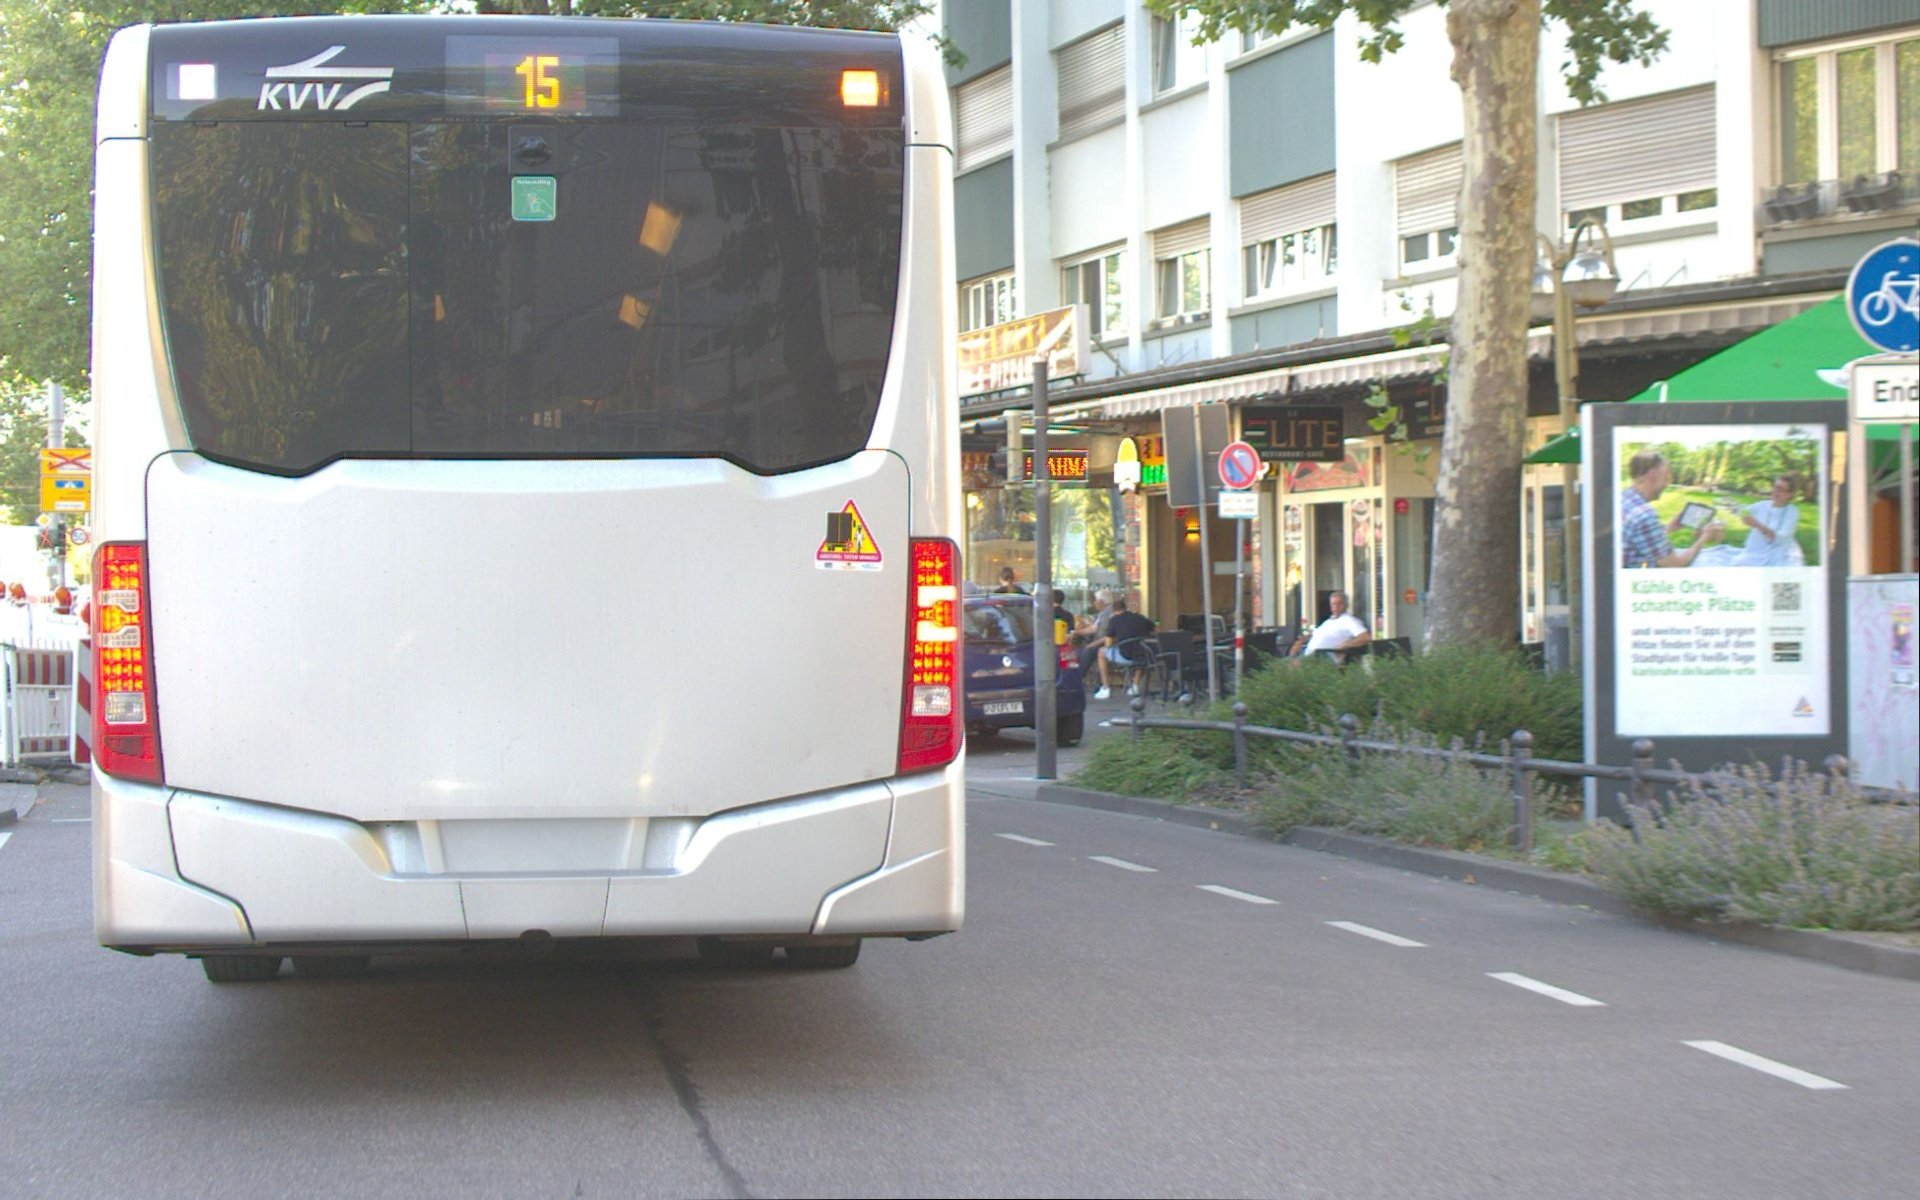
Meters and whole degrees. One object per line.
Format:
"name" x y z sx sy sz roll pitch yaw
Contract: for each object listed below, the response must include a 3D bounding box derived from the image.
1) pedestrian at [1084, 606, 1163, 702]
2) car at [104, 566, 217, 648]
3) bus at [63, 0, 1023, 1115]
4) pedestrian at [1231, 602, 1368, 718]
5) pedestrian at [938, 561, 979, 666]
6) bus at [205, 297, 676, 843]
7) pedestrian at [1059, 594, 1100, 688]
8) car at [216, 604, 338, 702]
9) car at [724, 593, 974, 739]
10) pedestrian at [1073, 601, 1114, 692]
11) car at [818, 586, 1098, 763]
"pedestrian" 1.928 0.632 40.634 0.705 1.105 0.766 0 0 -17
"car" -14.851 0.121 63.739 1.755 1.459 4.001 0 0 -17
"bus" -1.987 -0.144 14.644 2.657 3.088 10.218 0 0 -10
"pedestrian" 3.599 0.626 36.459 1.177 1.193 0.926 0 0 -17
"pedestrian" -0.023 0.155 41.180 0.387 1.252 0.393 0 0 -18
"bus" -3.765 -0.176 24.710 2.657 3.088 10.218 0 0 -9
"pedestrian" 1.504 0.510 43.265 0.391 1.170 0.389 0 0 -19
"car" -10.845 0.805 54.431 1.755 1.459 4.001 0 0 -13
"car" -1.253 0.678 37.324 1.662 1.390 3.413 -4 2 -20
"pedestrian" 1.663 0.580 42.825 0.387 1.118 0.393 0 0 -18
"car" -0.073 0.676 33.425 1.662 1.511 3.414 -4 2 -18
